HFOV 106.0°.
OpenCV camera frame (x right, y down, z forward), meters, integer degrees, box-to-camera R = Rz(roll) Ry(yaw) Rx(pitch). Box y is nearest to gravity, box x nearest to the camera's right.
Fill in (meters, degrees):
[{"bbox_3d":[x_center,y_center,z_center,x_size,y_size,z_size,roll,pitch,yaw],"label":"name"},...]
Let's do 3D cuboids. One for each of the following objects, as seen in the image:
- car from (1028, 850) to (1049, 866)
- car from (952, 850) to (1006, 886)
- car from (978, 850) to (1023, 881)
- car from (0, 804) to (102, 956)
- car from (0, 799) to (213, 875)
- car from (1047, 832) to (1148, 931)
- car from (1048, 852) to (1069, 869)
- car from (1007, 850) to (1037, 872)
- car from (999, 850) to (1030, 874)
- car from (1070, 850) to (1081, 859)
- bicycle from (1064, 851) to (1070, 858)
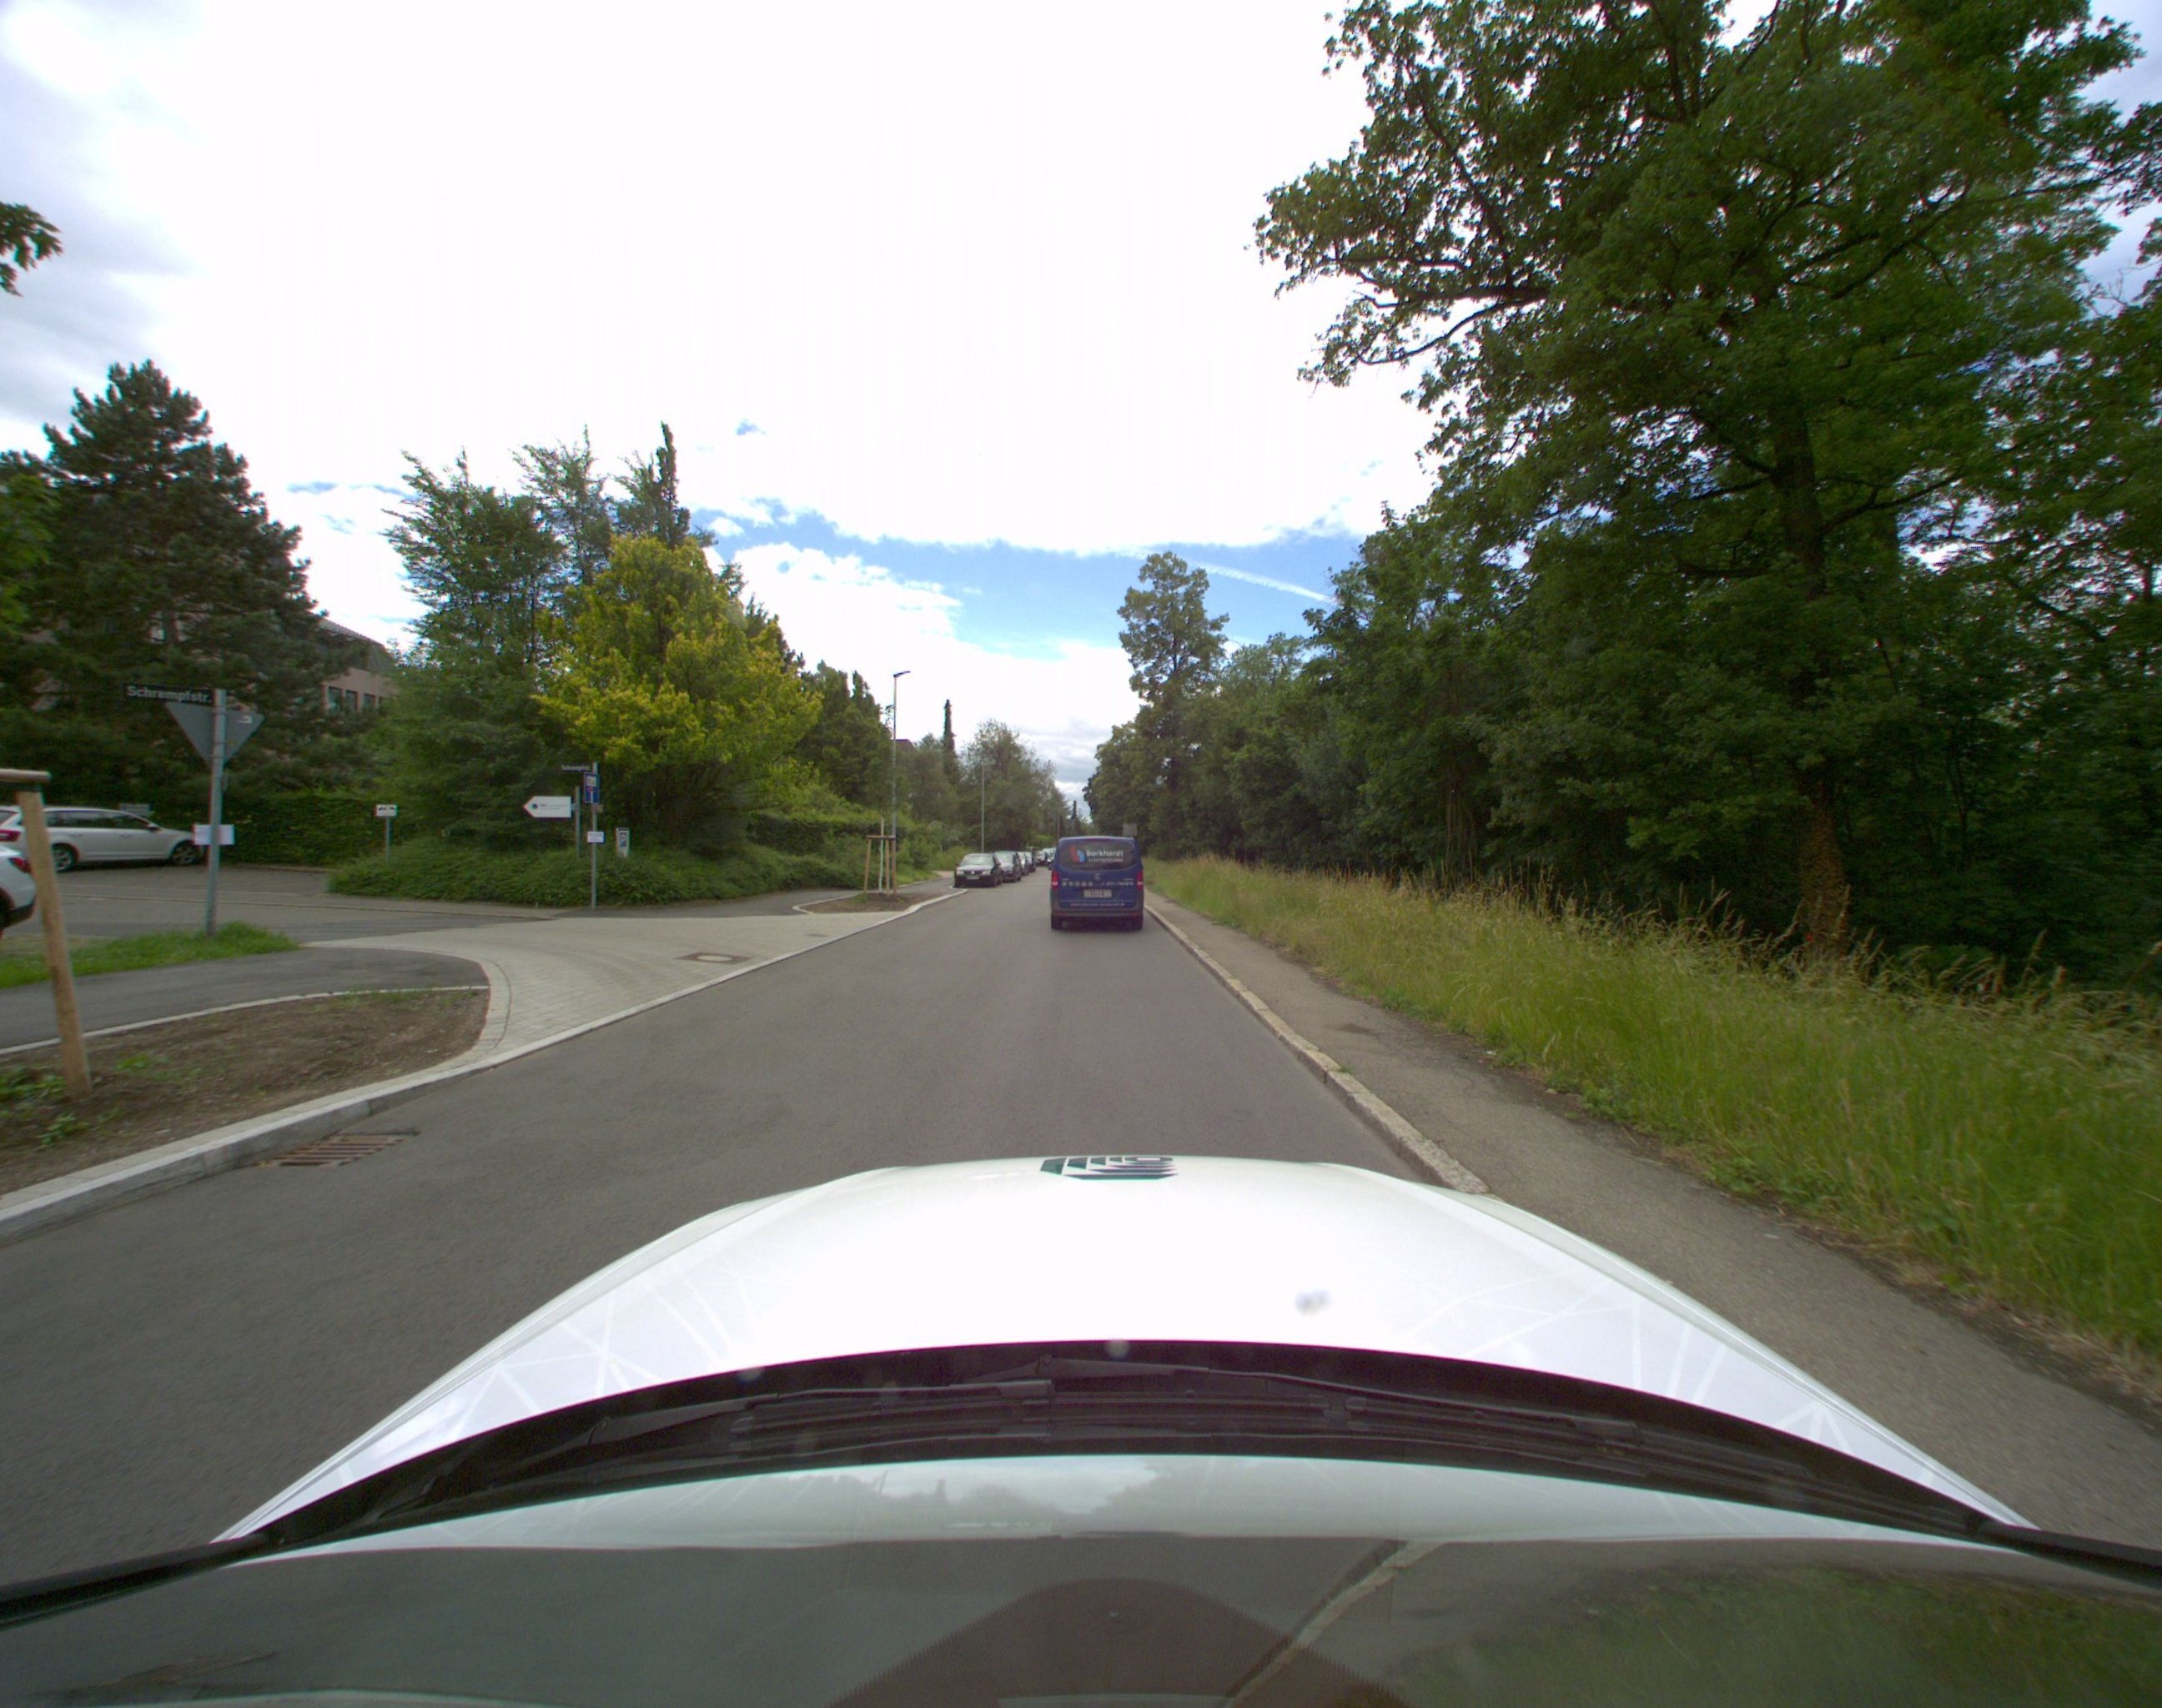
[{"bbox_3d":[-3.997,0.397,77.328,1.616,1.450,3.971,1,0,2],"label":"car"},{"bbox_3d":[-4.373,0.564,35.532,1.677,1.482,4.693,0,0,0],"label":"car"},{"bbox_3d":[-3.924,0.537,40.504,1.700,1.482,4.496,0,0,1],"label":"car"},{"bbox_3d":[-11.874,0.215,6.792,1.902,1.533,4.590,4,0,-4],"label":"car"},{"bbox_3d":[-23.694,-0.449,19.113,1.989,1.532,4.411,3,2,-3],"label":"car"},{"bbox_3d":[0.278,0.499,17.567,1.883,1.844,3.998,2,1,-1],"label":"car"},{"bbox_3d":[-2.026,0.551,73.707,1.775,1.426,4.488,2,0,-1],"label":"car"},{"bbox_3d":[-4.080,0.434,57.108,1.773,1.432,5.103,2,0,-1],"label":"car"},{"bbox_3d":[-4.082,0.482,50.619,1.619,1.432,4.349,0,0,-1],"label":"car"},{"bbox_3d":[-1.142,0.055,167.481,1.828,1.631,4.305,3,0,4],"label":"car"},{"bbox_3d":[-2.903,0.072,164.622,0.902,1.251,2.919,4,0,4],"label":"bicycle"}]
